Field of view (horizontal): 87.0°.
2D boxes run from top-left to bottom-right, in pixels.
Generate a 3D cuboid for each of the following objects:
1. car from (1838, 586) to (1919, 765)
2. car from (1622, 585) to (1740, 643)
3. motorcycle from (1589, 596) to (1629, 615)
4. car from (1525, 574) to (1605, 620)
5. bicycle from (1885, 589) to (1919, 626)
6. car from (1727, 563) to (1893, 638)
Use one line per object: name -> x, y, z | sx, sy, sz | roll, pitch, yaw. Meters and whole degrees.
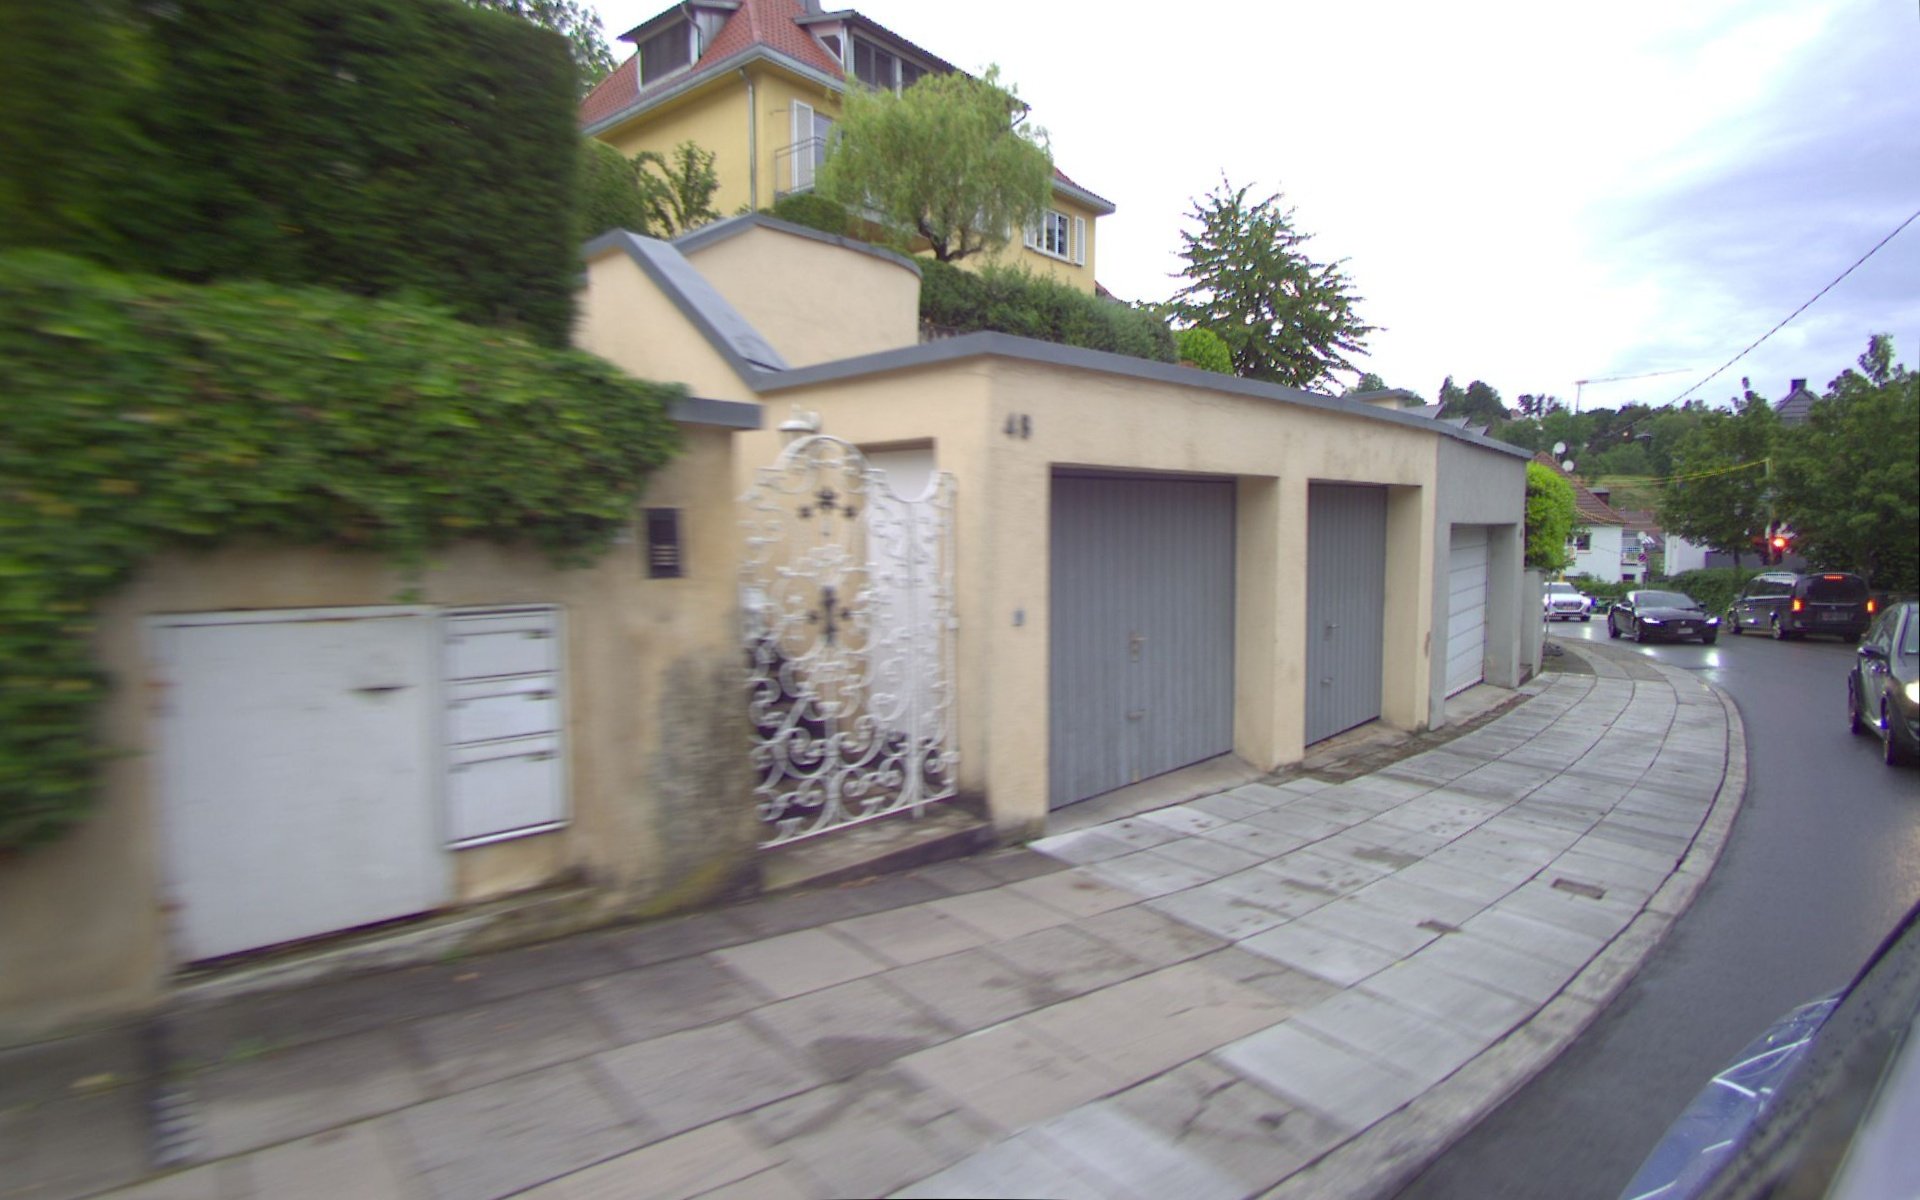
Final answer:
car -> 10.034, 0.645, 9.978 | 1.666, 1.484, 4.653 | 3, 3, 37
car -> 20.347, 0.332, 28.741 | 1.824, 1.420, 4.041 | 3, 2, 23
motorcycle -> 32.956, 0.270, 51.426 | 0.656, 0.945, 2.010 | 2, 1, -1
car -> 25.536, -0.179, 42.872 | 1.976, 1.730, 4.546 | 2, 2, 19
bicycle -> 33.530, 0.253, 35.368 | 0.483, 1.288, 2.269 | -1, 0, 6
car -> 24.484, -0.054, 29.418 | 1.879, 1.912, 5.122 | 2, 2, 19
